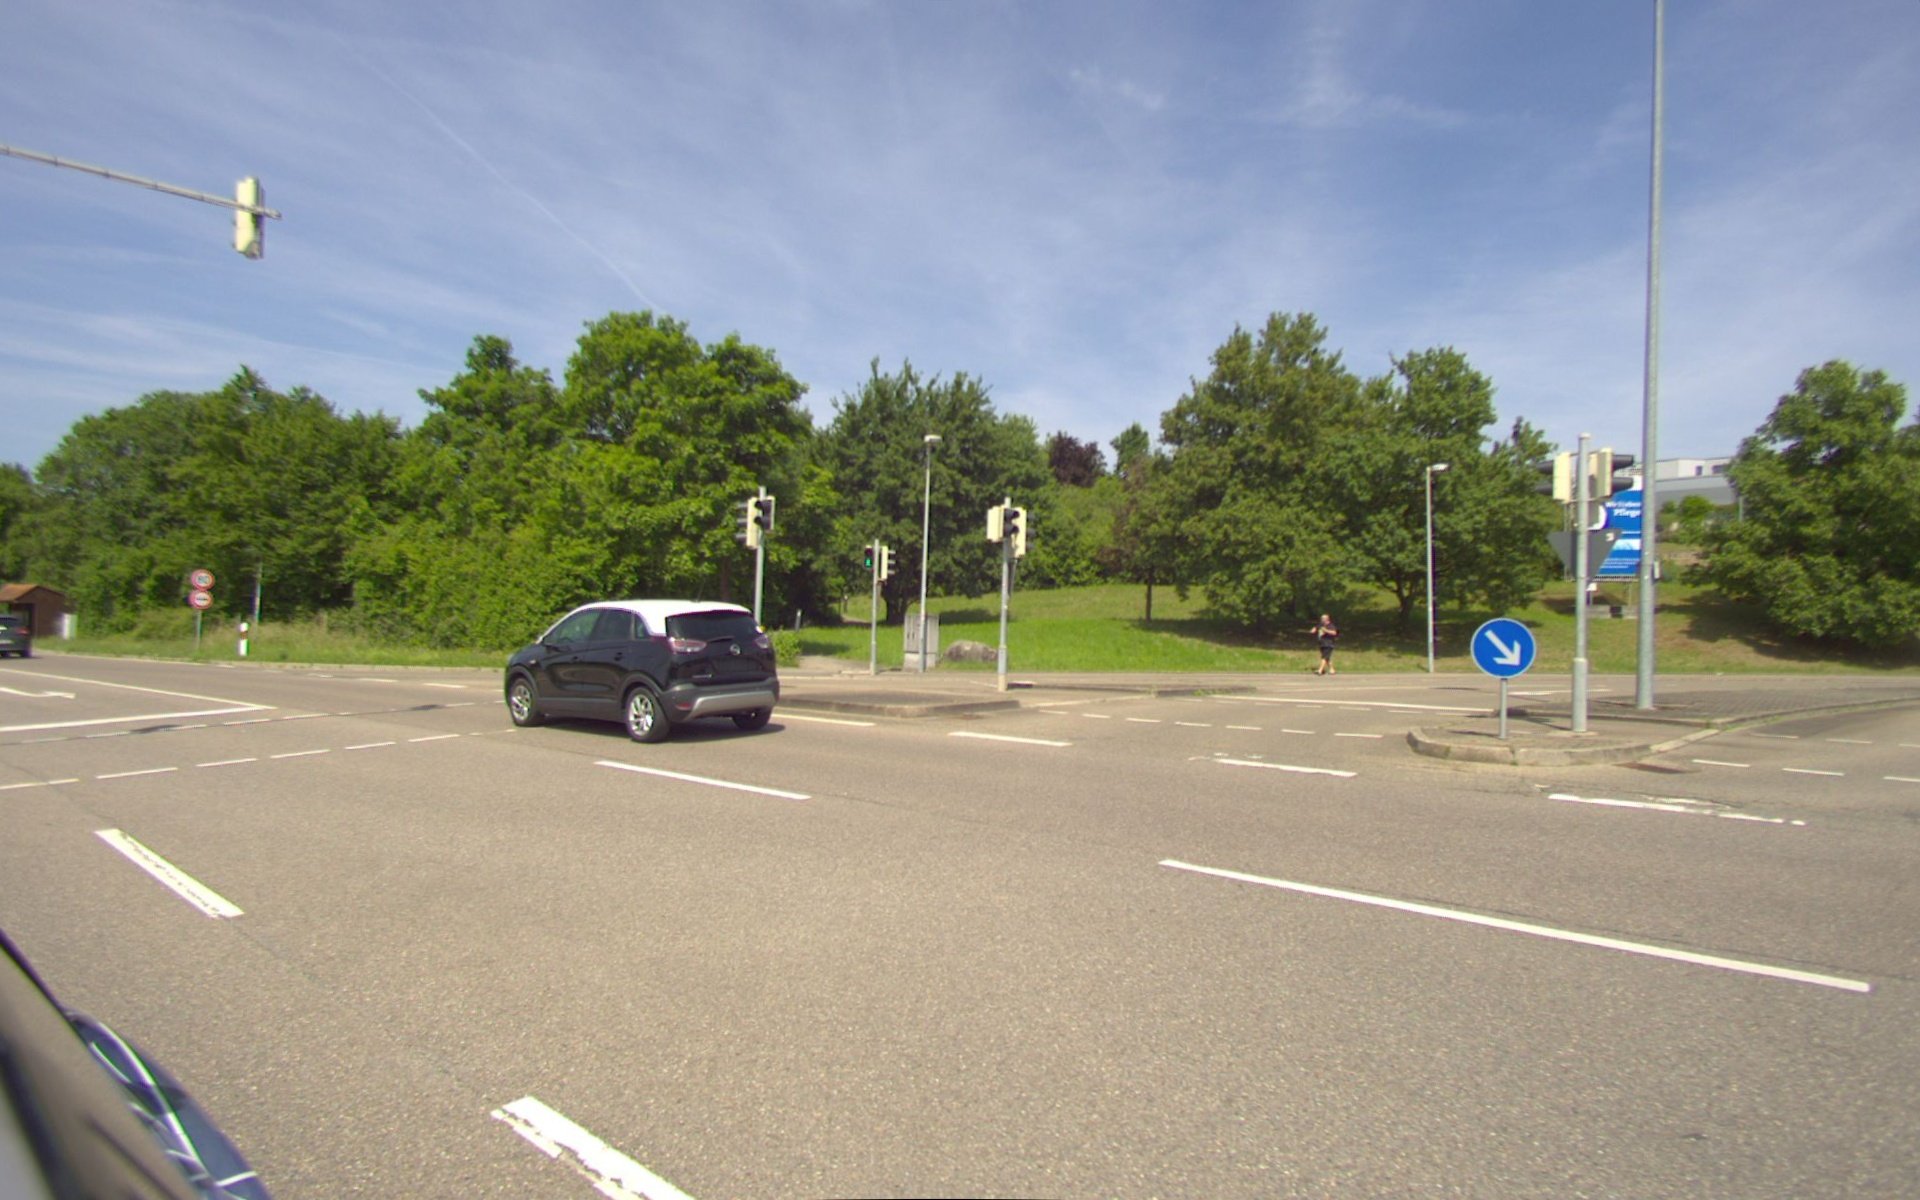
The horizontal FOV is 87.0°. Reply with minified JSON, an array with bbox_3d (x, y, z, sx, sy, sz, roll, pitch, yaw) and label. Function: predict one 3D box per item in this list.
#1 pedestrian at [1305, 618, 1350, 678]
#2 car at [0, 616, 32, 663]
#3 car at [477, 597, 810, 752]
[{"bbox_3d":[11.062,1.439,30.498,0.906,1.749,0.902,0,-1,-15],"label":"pedestrian"},{"bbox_3d":[-32.481,1.294,33.538,4.303,1.485,1.775,-1,-1,37],"label":"car"},{"bbox_3d":[-3.980,0.776,12.410,4.185,1.574,1.954,-1,-1,40],"label":"car"}]
